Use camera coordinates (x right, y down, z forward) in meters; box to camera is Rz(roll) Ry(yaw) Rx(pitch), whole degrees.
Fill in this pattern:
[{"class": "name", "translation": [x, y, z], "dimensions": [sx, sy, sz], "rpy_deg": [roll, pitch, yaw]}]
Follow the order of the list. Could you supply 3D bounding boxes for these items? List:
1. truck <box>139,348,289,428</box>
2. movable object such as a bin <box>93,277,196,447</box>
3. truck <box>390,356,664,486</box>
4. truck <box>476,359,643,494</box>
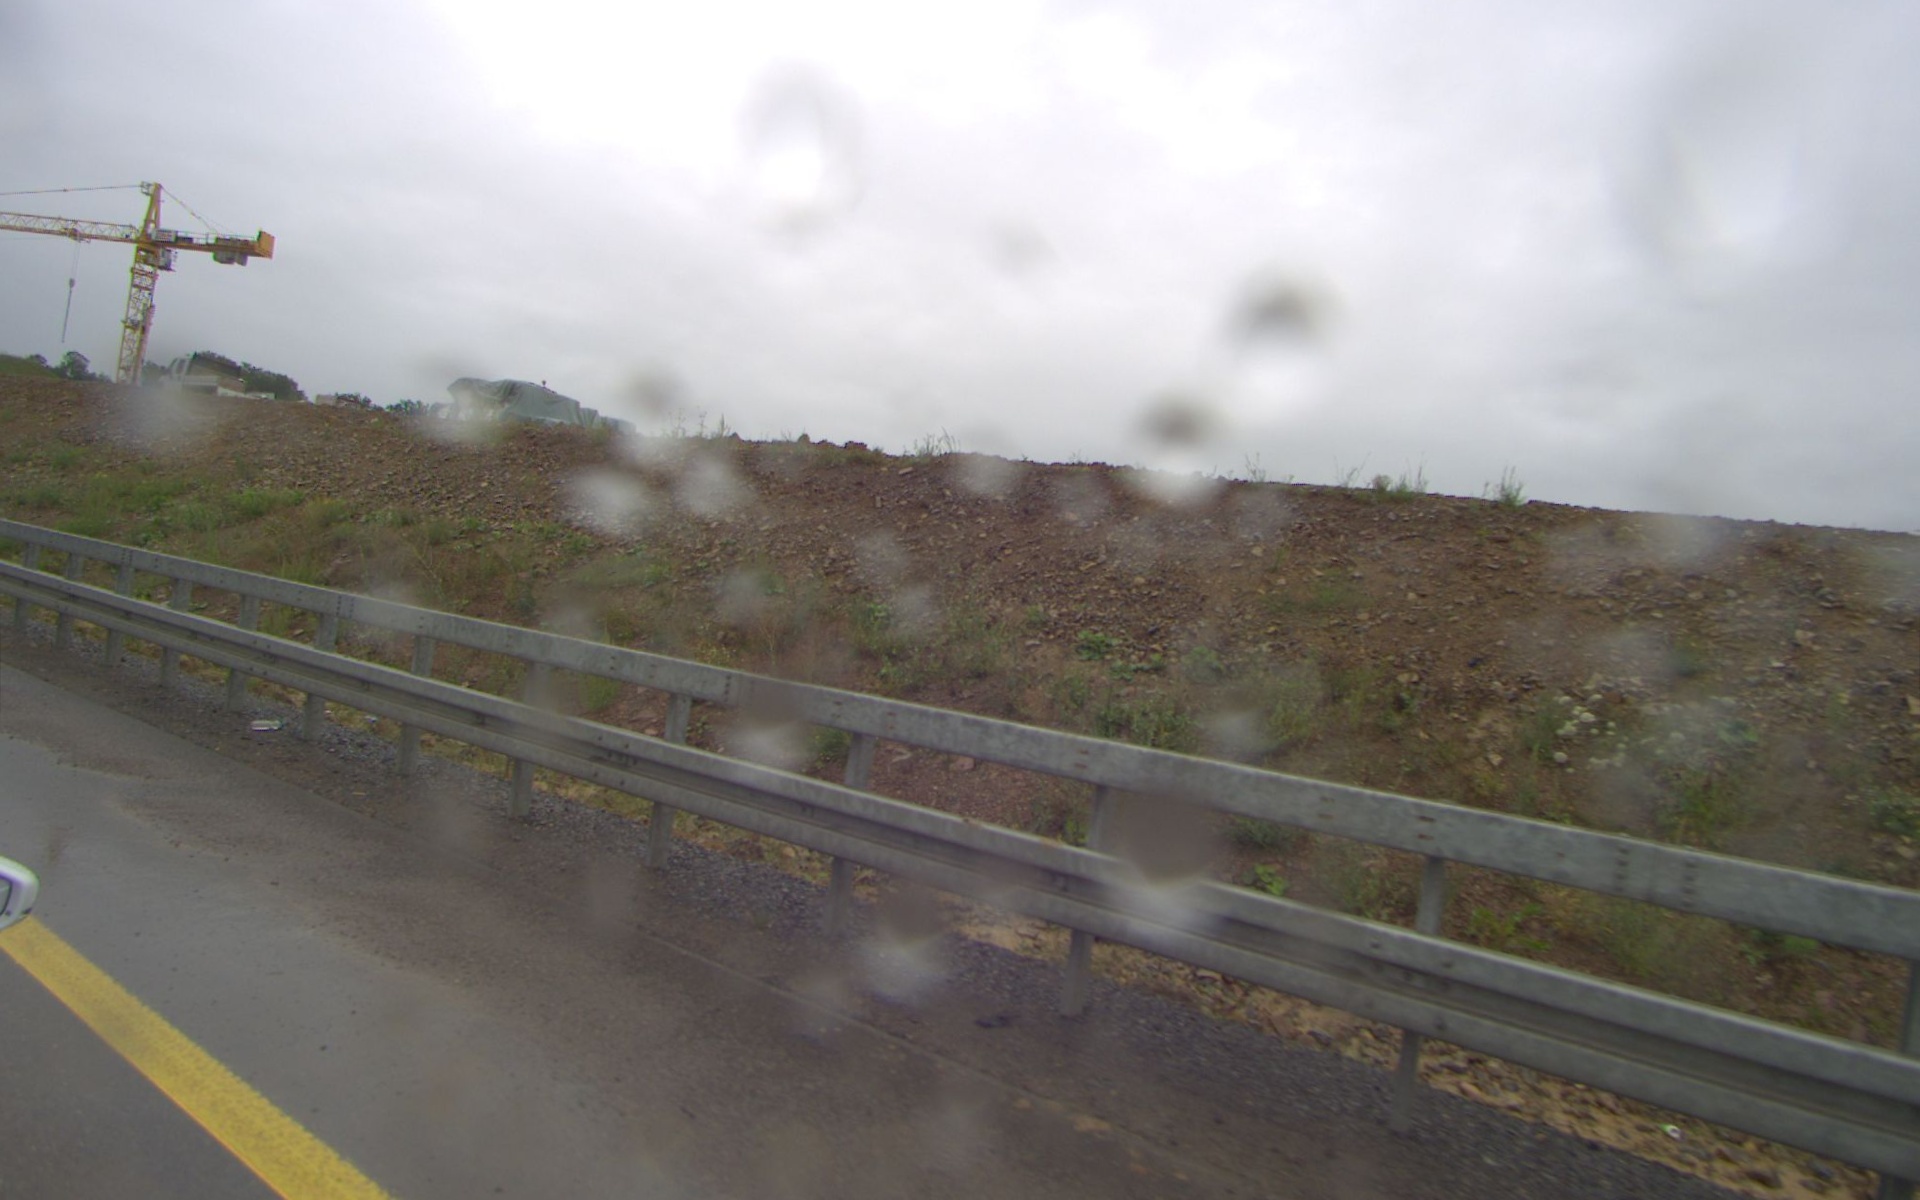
[{"class": "truck", "translation": [-32.146, -9.010, 43.287], "dimensions": [6.869, 2.585, 2.649], "rpy_deg": [6, -1, 32]}, {"class": "movable object such as a bin", "translation": [-63.919, -18.160, 78.702], "dimensions": [4.704, 10.972, 10.179], "rpy_deg": [7, 0, -43]}, {"class": "truck", "translation": [-13.547, -5.409, 31.143], "dimensions": [8.817, 2.909, 3.398], "rpy_deg": [6, -1, 34]}, {"class": "truck", "translation": [-14.952, -6.396, 37.452], "dimensions": [5.880, 4.269, 2.376], "rpy_deg": [7, 0, 32]}]
